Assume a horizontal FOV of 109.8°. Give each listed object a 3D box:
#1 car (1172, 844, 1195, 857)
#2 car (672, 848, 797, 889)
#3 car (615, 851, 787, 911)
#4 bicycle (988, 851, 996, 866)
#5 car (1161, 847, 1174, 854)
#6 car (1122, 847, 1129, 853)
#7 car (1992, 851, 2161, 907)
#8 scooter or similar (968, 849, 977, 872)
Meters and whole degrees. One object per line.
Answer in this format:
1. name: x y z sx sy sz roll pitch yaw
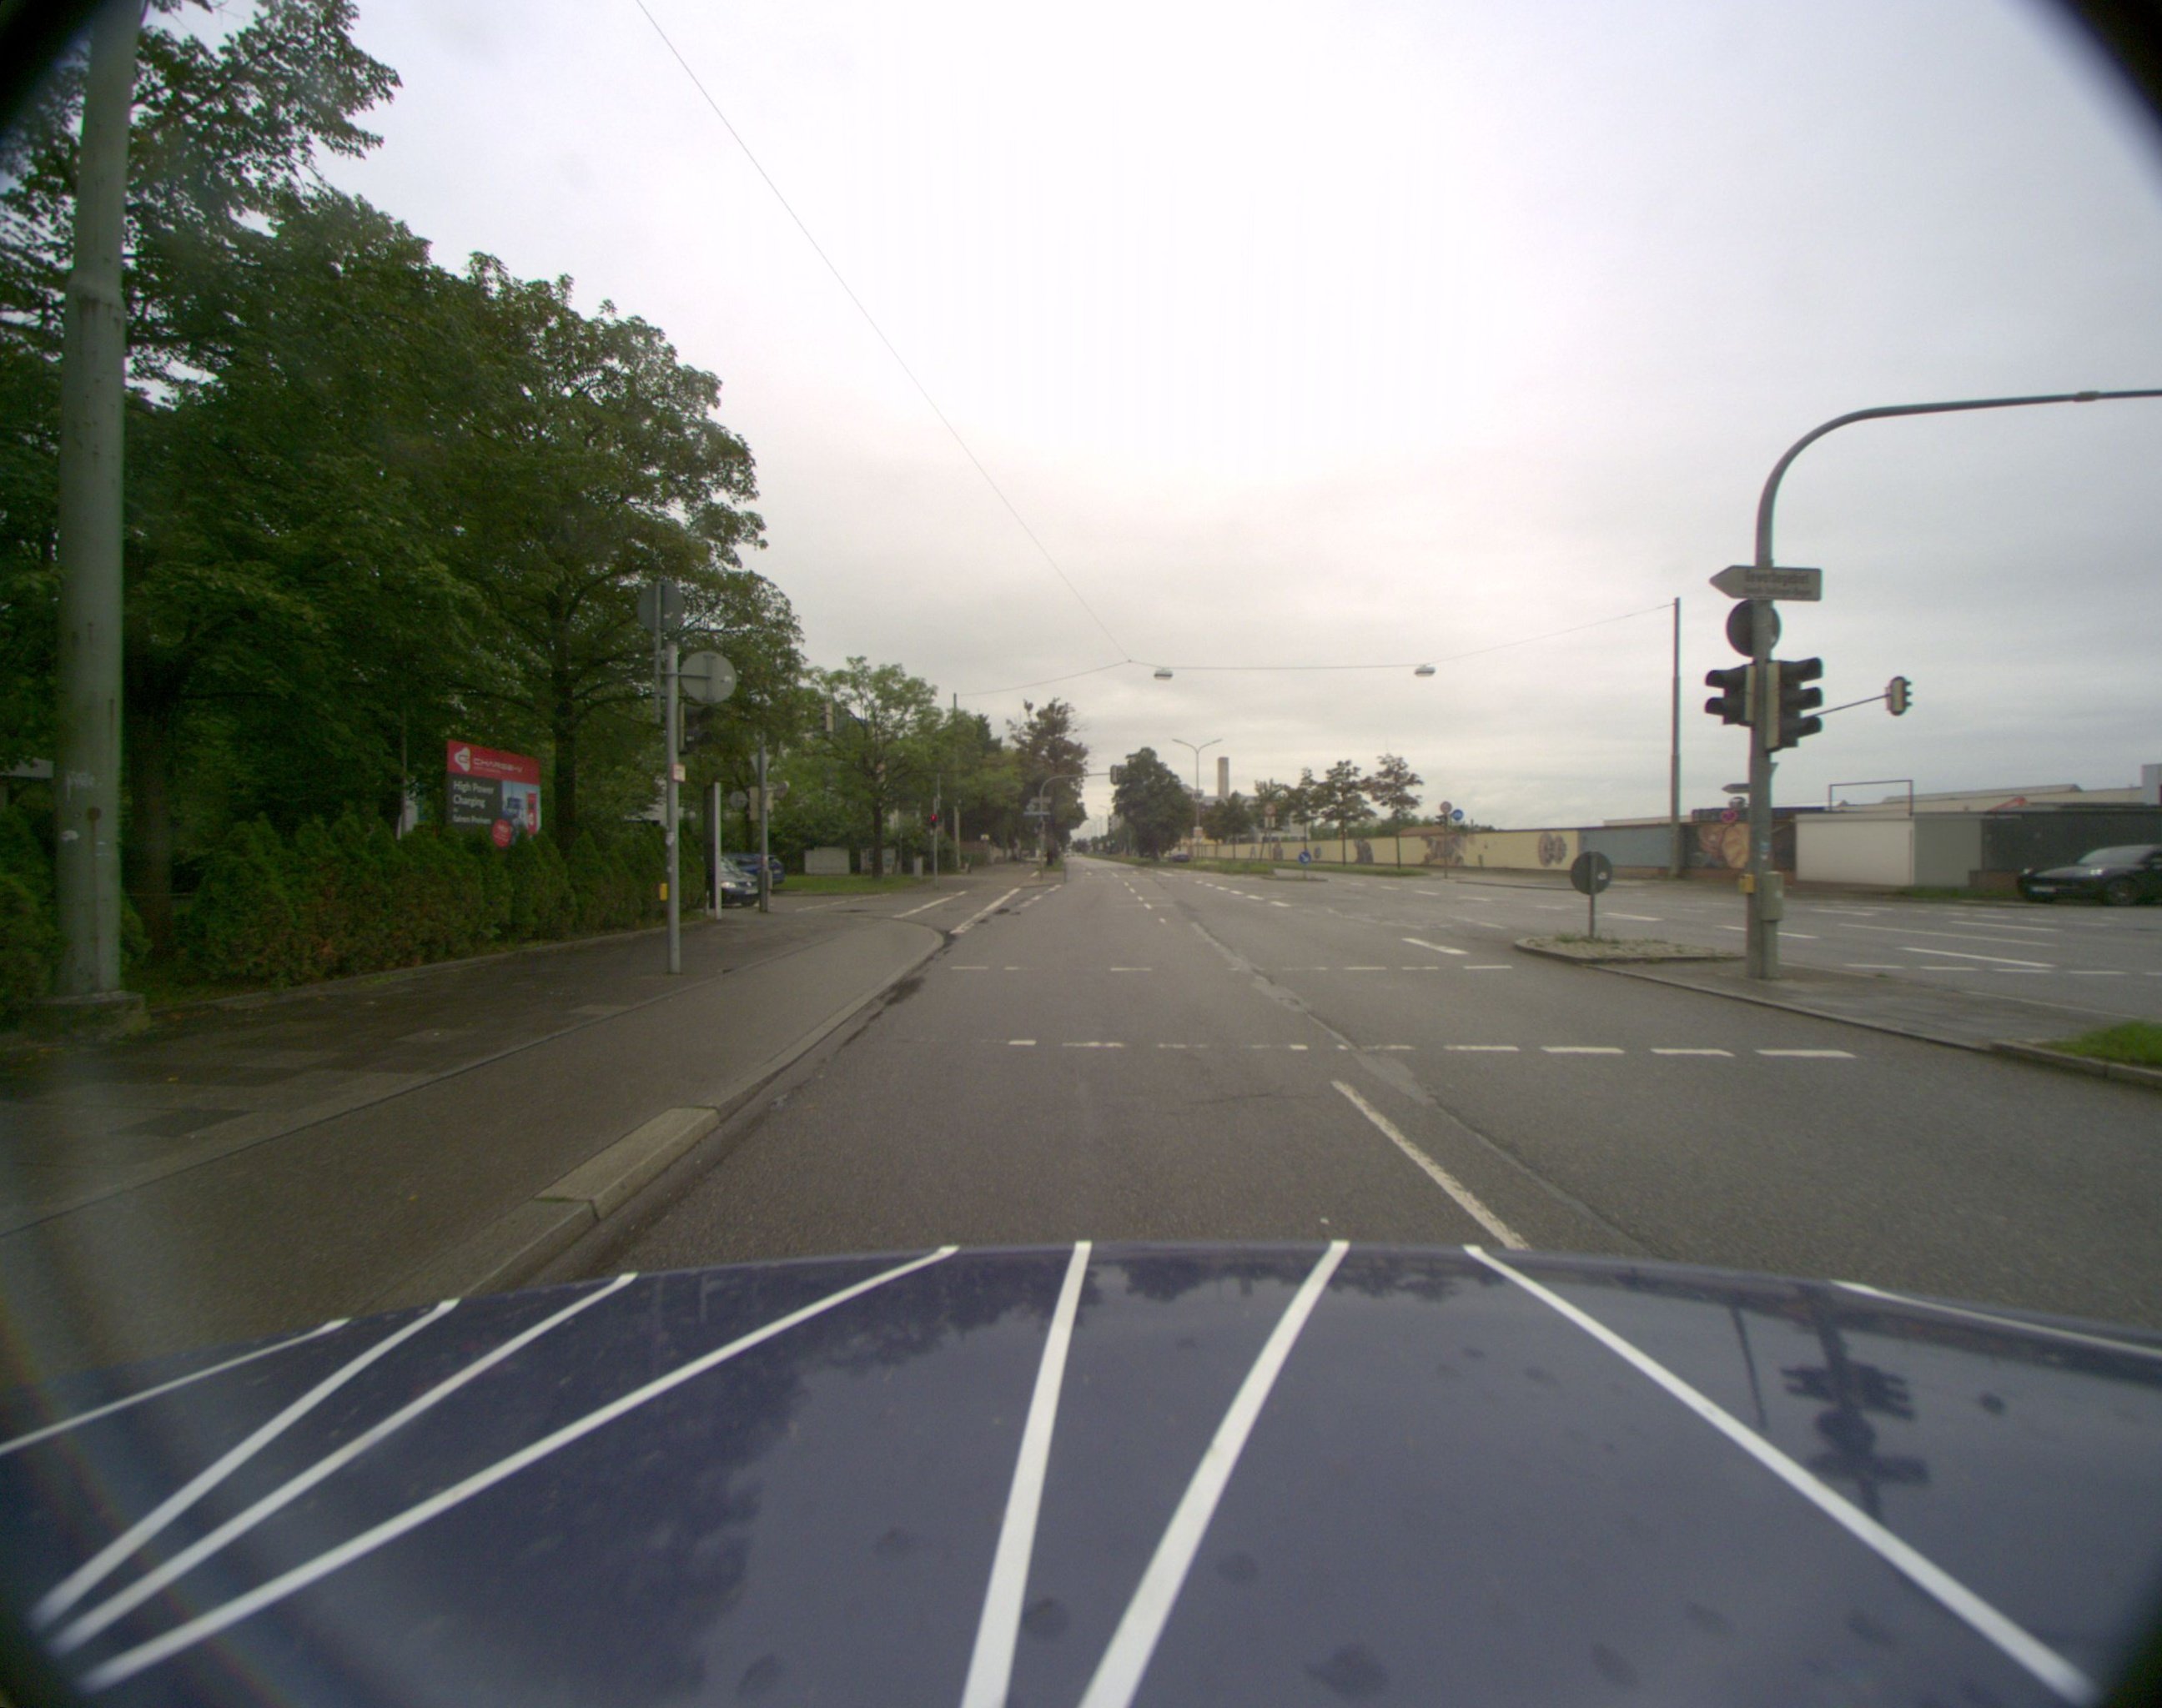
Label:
1. car: 11.627 -0.408 86.144 1.916 1.498 4.438 1 0 -1
2. car: -14.362 0.588 31.617 4.277 1.566 2.000 -1 3 8
3. car: -11.676 0.800 23.348 4.779 1.712 2.003 -1 0 21
4. bicycle: -7.969 0.420 68.062 0.583 1.288 2.453 1 0 -3
5. car: 17.204 -0.742 151.358 1.883 1.459 4.500 1 0 -2
6. car: 11.873 -1.112 201.176 1.488 1.706 3.550 1 0 -2
7. car: 28.322 0.642 20.809 4.260 1.419 2.000 -1 0 2
8. scooter or similar: -6.943 0.413 48.713 0.371 1.416 1.403 1 1 -16
